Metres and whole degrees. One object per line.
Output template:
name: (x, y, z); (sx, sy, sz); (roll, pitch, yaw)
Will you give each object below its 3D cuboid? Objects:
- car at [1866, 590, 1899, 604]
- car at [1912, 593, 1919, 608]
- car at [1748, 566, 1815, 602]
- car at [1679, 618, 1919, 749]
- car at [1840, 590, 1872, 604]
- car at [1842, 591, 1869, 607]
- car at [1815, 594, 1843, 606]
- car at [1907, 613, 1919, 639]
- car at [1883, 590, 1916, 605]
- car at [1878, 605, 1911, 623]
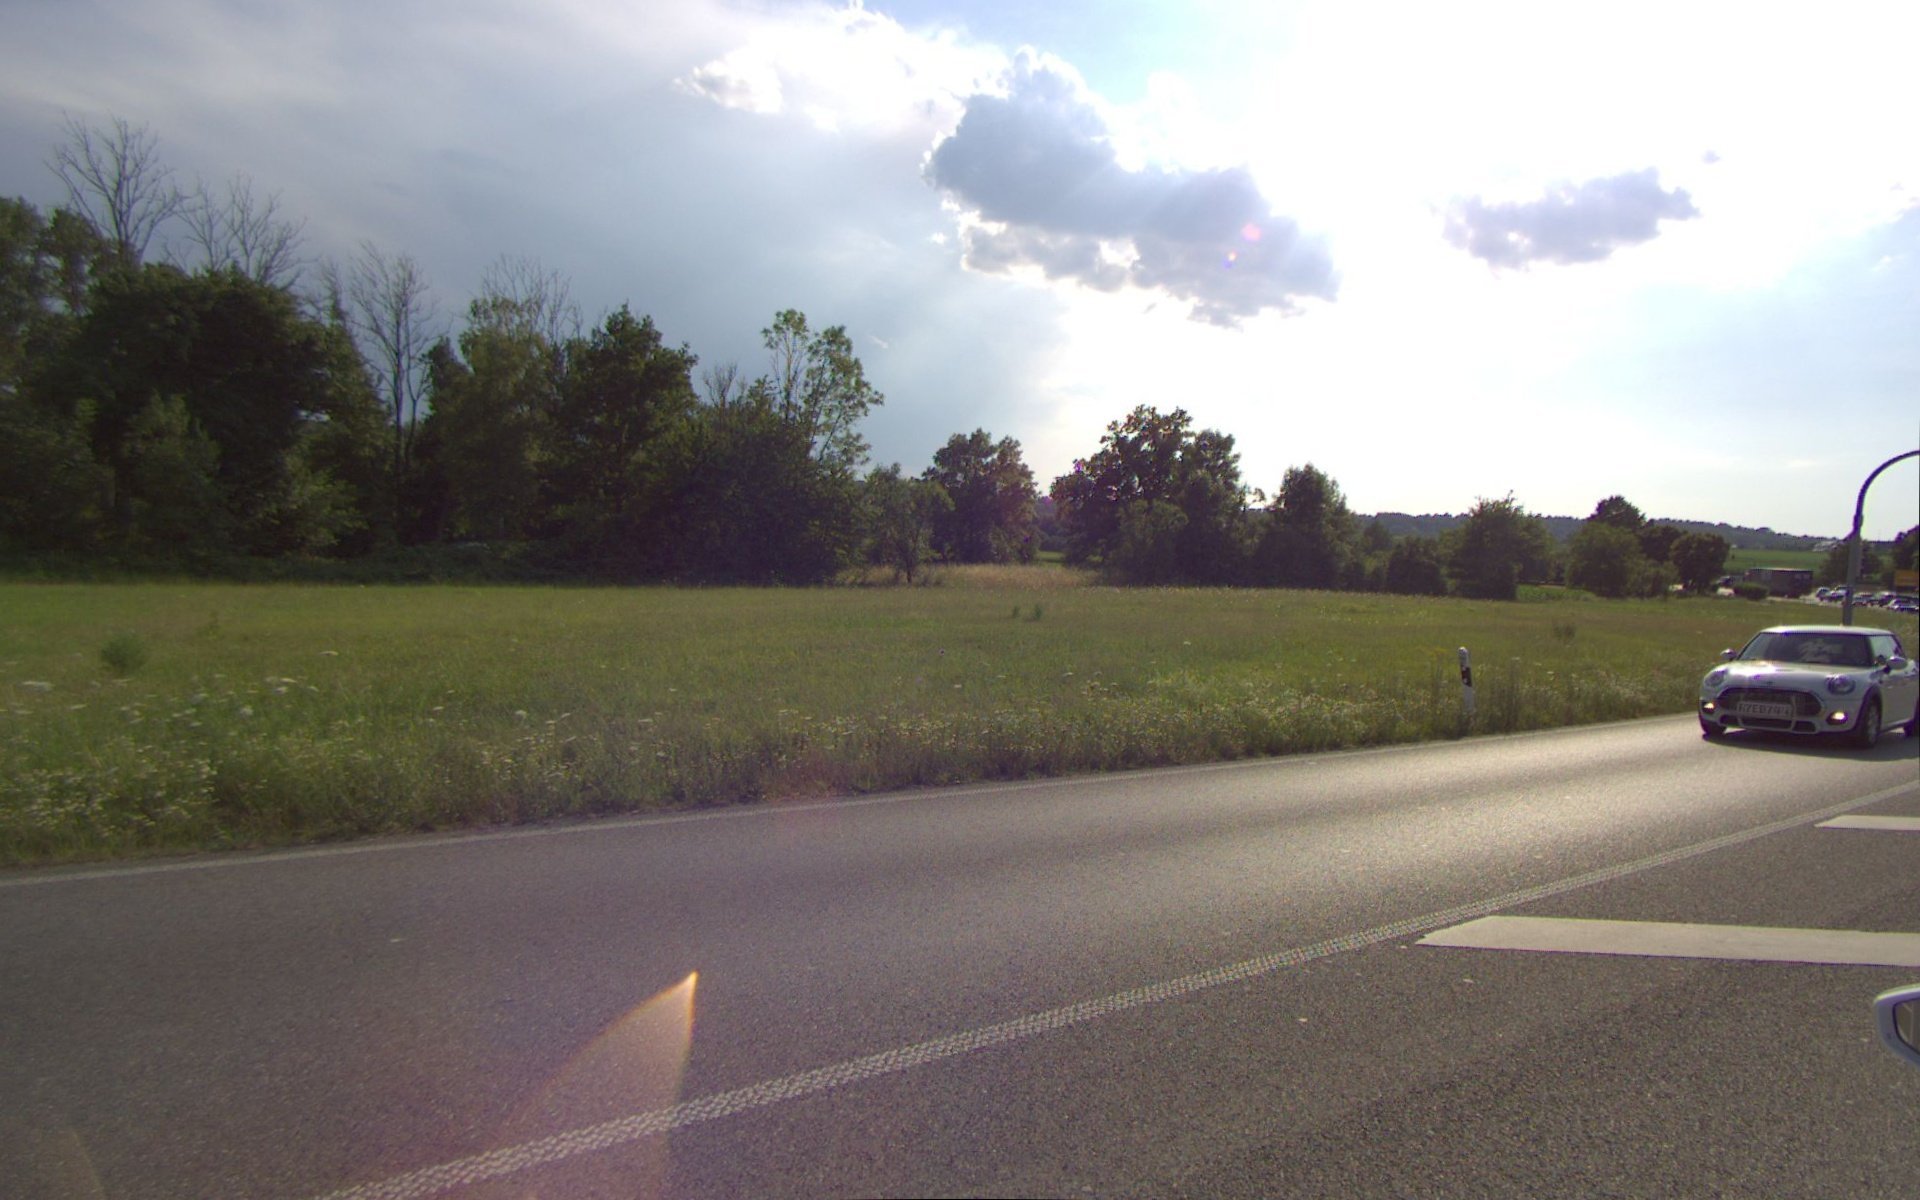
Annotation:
car: (110.921, -0.364, 120.833); (1.853, 1.621, 3.995); (3, 1, 27)
car: (104.904, 0.129, 108.468); (2.054, 1.621, 3.992); (3, 2, 30)
car: (123.670, -2.399, 151.546); (3.483, 5.127, 13.240); (2, 1, 20)
car: (11.113, 0.996, 13.147); (3.713, 1.455, 1.708); (2, -1, -36)
car: (114.571, -0.393, 128.483); (1.852, 1.621, 3.997); (3, 1, 24)
car: (98.769, -0.136, 110.834); (1.858, 1.621, 3.983); (3, 2, 38)
car: (116.490, -0.008, 134.647); (1.853, 1.621, 3.995); (3, 1, 26)
car: (63.197, 1.743, 65.336); (1.858, 1.621, 3.983); (3, 2, 38)
car: (107.817, -0.276, 115.270); (1.854, 1.621, 3.991); (3, 2, 31)
car: (86.594, 1.279, 93.114); (1.858, 1.621, 3.983); (3, 2, 38)
